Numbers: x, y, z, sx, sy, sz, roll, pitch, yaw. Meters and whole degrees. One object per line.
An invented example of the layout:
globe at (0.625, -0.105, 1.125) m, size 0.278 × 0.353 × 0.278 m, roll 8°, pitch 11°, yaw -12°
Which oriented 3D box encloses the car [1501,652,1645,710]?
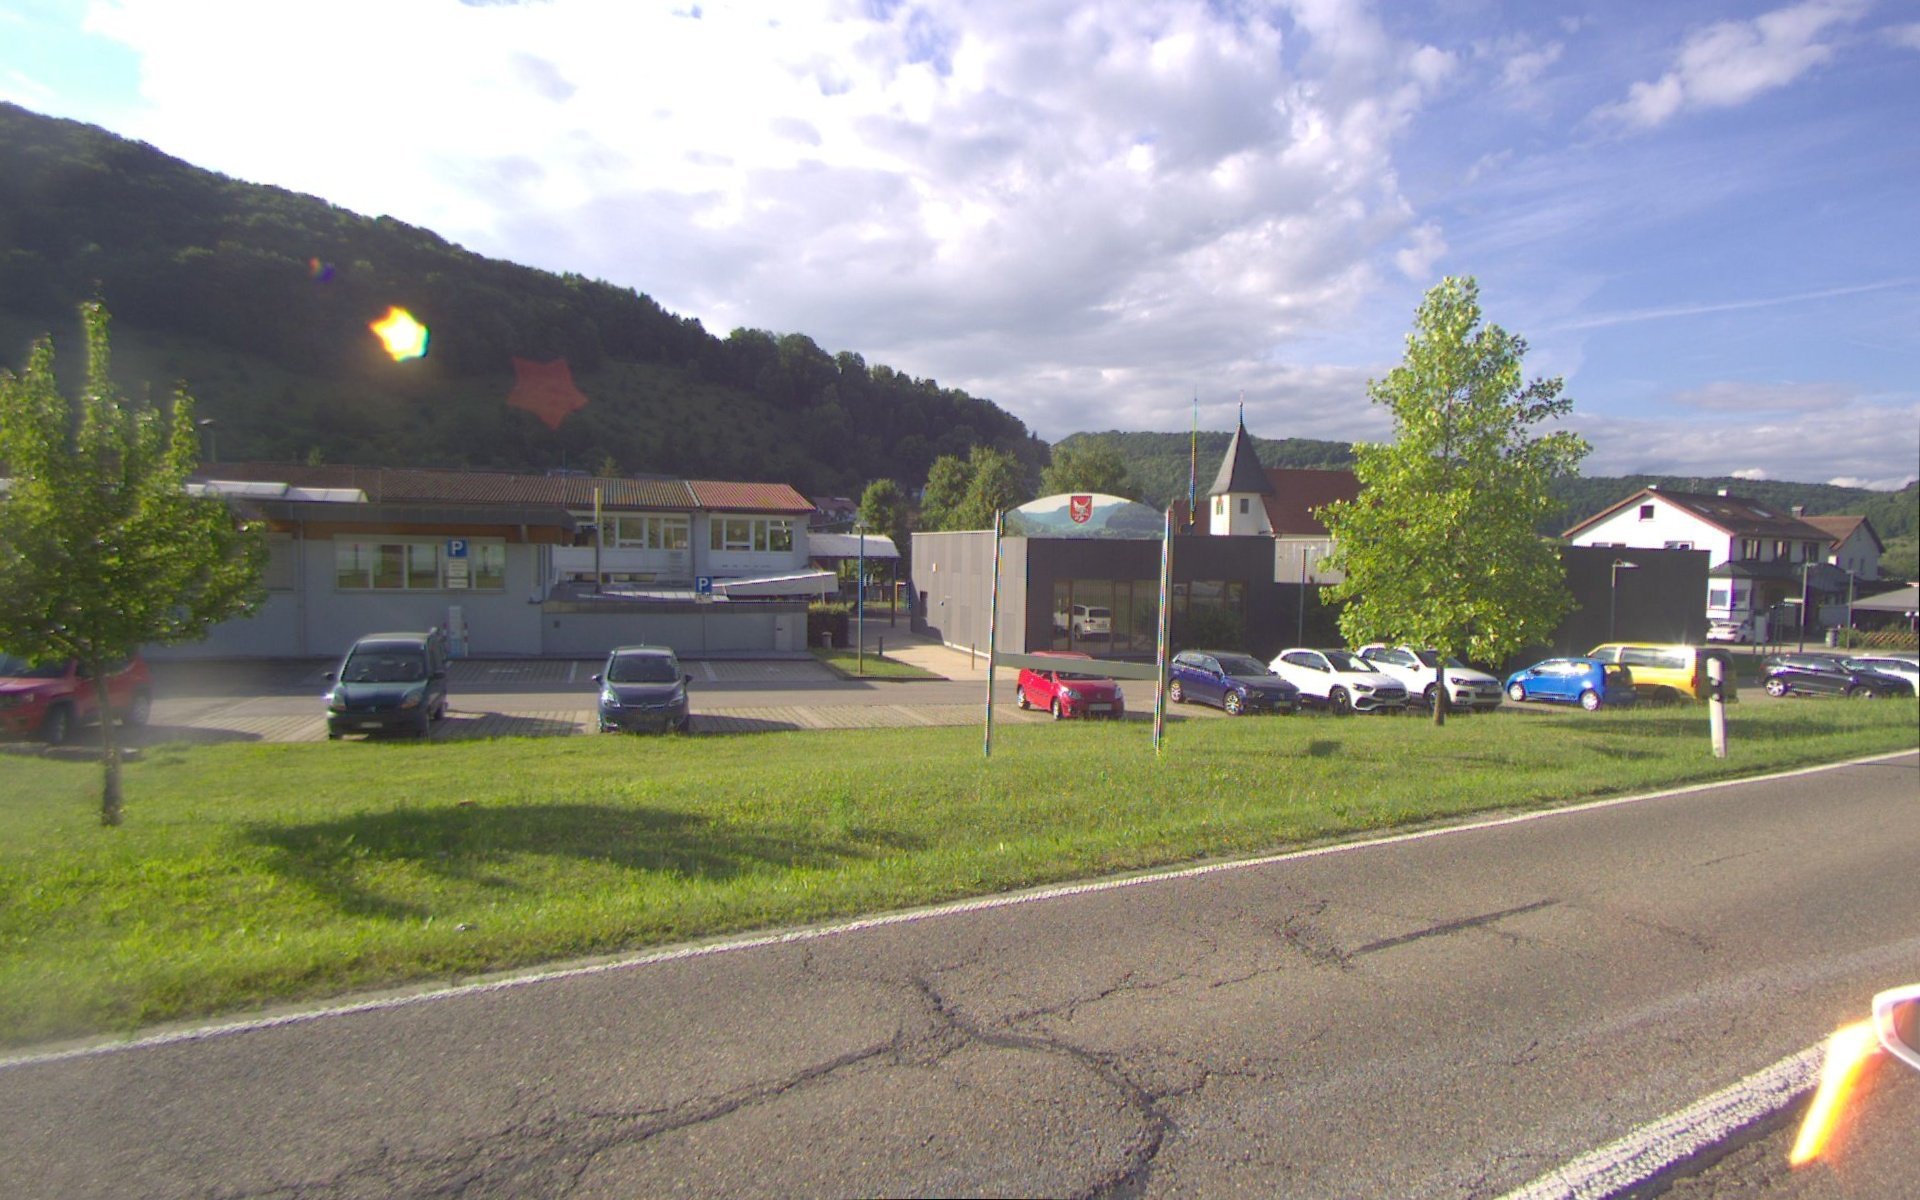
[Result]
car at (18.653, 2.433, 30.726) m, size 1.609 × 1.491 × 3.486 m, roll 2°, pitch 0°, yaw -22°

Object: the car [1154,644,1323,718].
car at (7.153, 2.049, 26.354) m, size 1.970 × 1.575 × 4.532 m, roll 2°, pitch 0°, yaw -20°

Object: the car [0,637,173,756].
car at (-16.022, 1.590, 17.717) m, size 1.818 × 1.691 × 4.320 m, roll 2°, pitch 0°, yaw -16°

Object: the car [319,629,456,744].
car at (-11.171, 1.582, 19.911) m, size 1.660 × 1.817 × 4.981 m, roll 2°, pitch 0°, yaw -22°

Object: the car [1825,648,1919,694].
car at (34.708, 2.610, 36.395) m, size 1.853 × 1.513 × 4.806 m, roll 2°, pitch 0°, yaw -20°

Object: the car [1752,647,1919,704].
car at (30.389, 2.577, 34.921) m, size 1.970 × 1.659 × 4.019 m, roll 2°, pitch 0°, yaw -20°

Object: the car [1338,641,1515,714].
car at (13.253, 2.143, 28.877) m, size 1.970 × 1.725 × 4.532 m, roll 2°, pitch 0°, yaw -20°

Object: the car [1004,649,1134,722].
car at (2.539, 2.002, 24.181) m, size 1.591 × 1.416 × 3.715 m, roll 2°, pitch 0°, yaw -20°

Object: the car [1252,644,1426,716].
car at (10.240, 2.122, 27.557) m, size 1.970 × 1.575 × 4.532 m, roll 2°, pitch 0°, yaw -20°

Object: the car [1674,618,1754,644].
car at (47.424, 1.955, 63.178) m, size 3.927 × 1.461 × 1.767 m, roll 2°, pitch 0°, yaw -9°

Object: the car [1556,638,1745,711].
car at (21.243, 2.243, 31.168) m, size 1.968 × 1.892 × 4.608 m, roll 2°, pitch 0°, yaw -17°

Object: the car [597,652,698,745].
car at (-6.547, 1.942, 20.796) m, size 1.660 × 1.471 × 3.999 m, roll -1°, pitch 1°, yaw -22°
